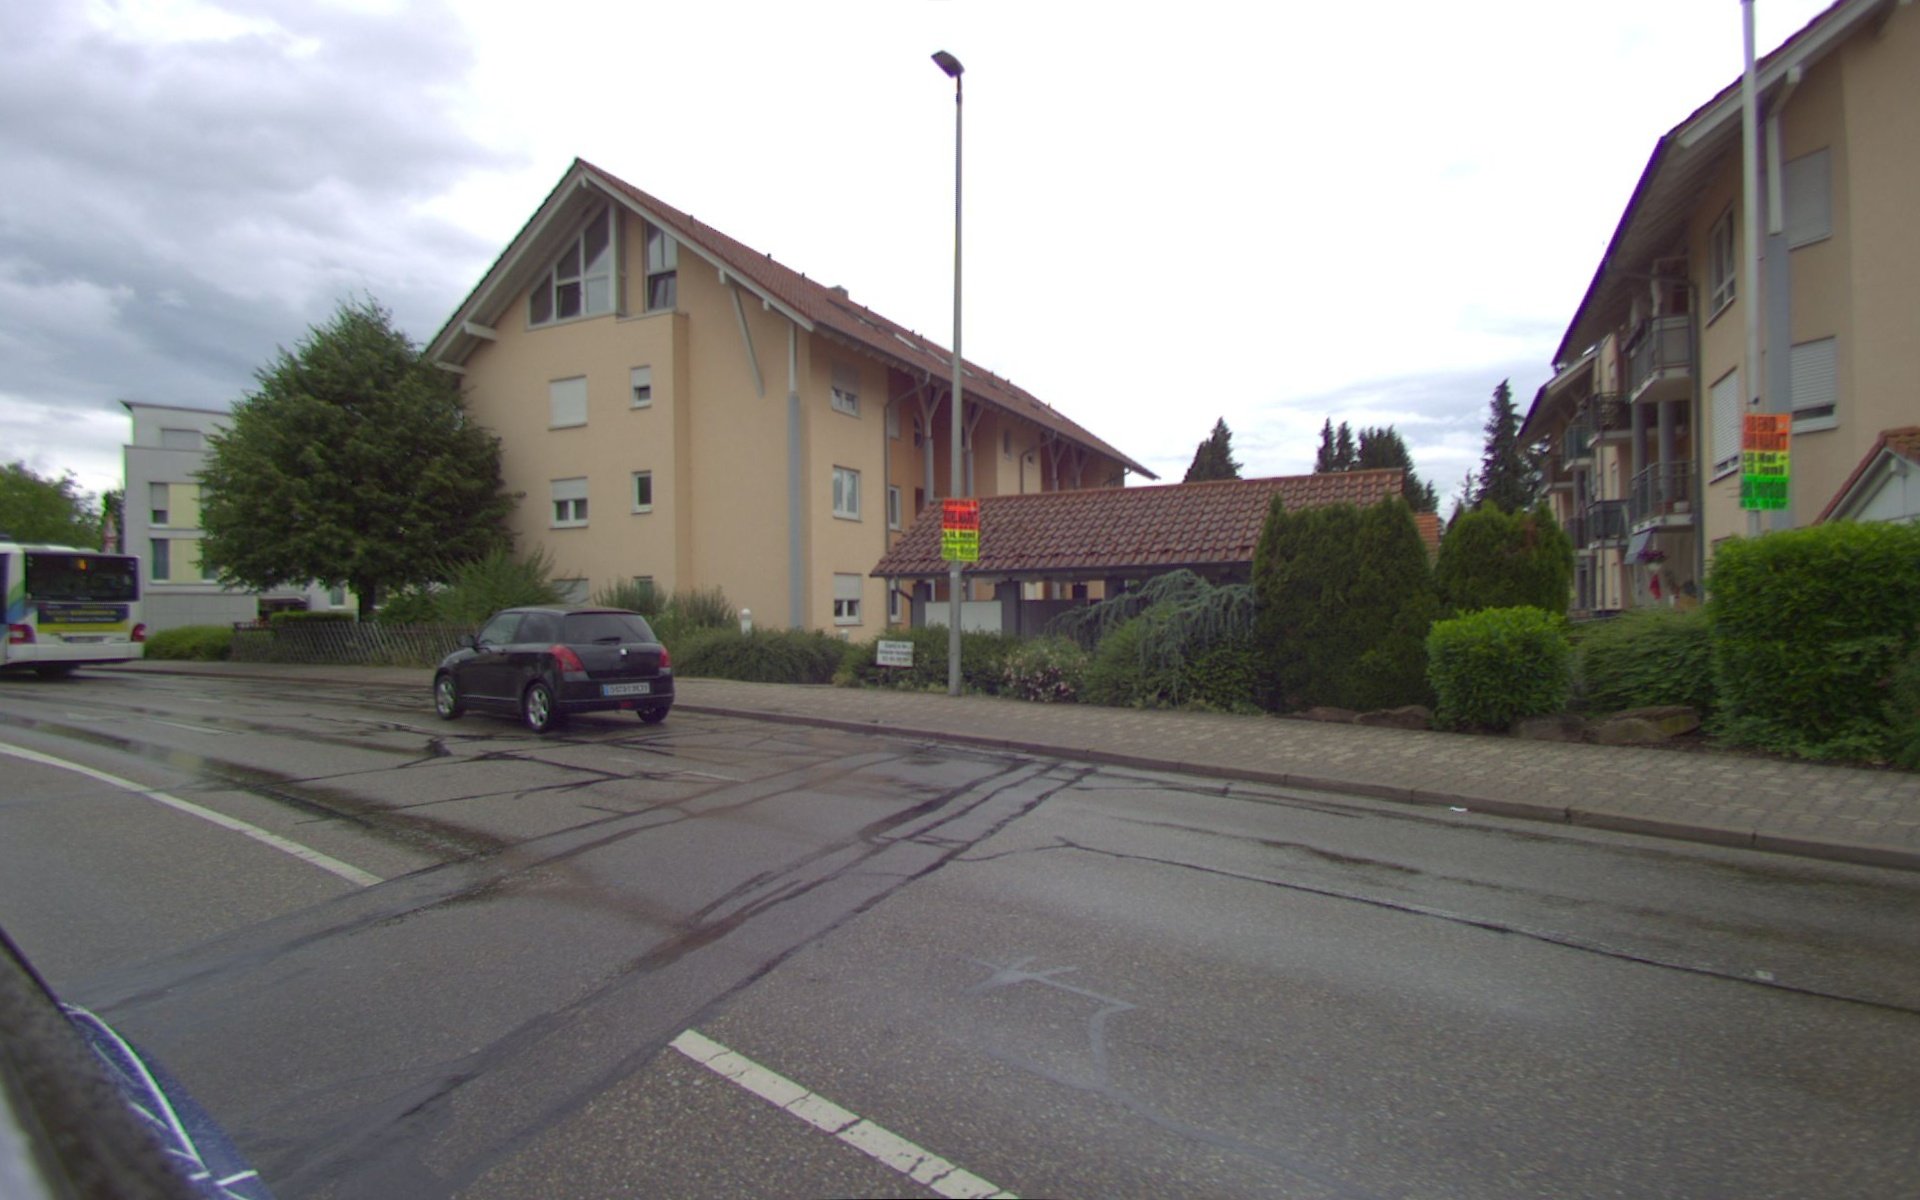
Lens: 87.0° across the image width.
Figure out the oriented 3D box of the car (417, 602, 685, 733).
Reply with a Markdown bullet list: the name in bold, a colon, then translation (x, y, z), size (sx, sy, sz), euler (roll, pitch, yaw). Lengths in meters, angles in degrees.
- **car**: translation (-5.269, 0.773, 12.854), size (3.690, 1.433, 1.572), euler (-2, -1, 39)

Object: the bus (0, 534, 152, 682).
- **bus**: translation (-22.726, 0.246, 23.650), size (8.357, 3.023, 2.572), euler (-1, -2, 25)
